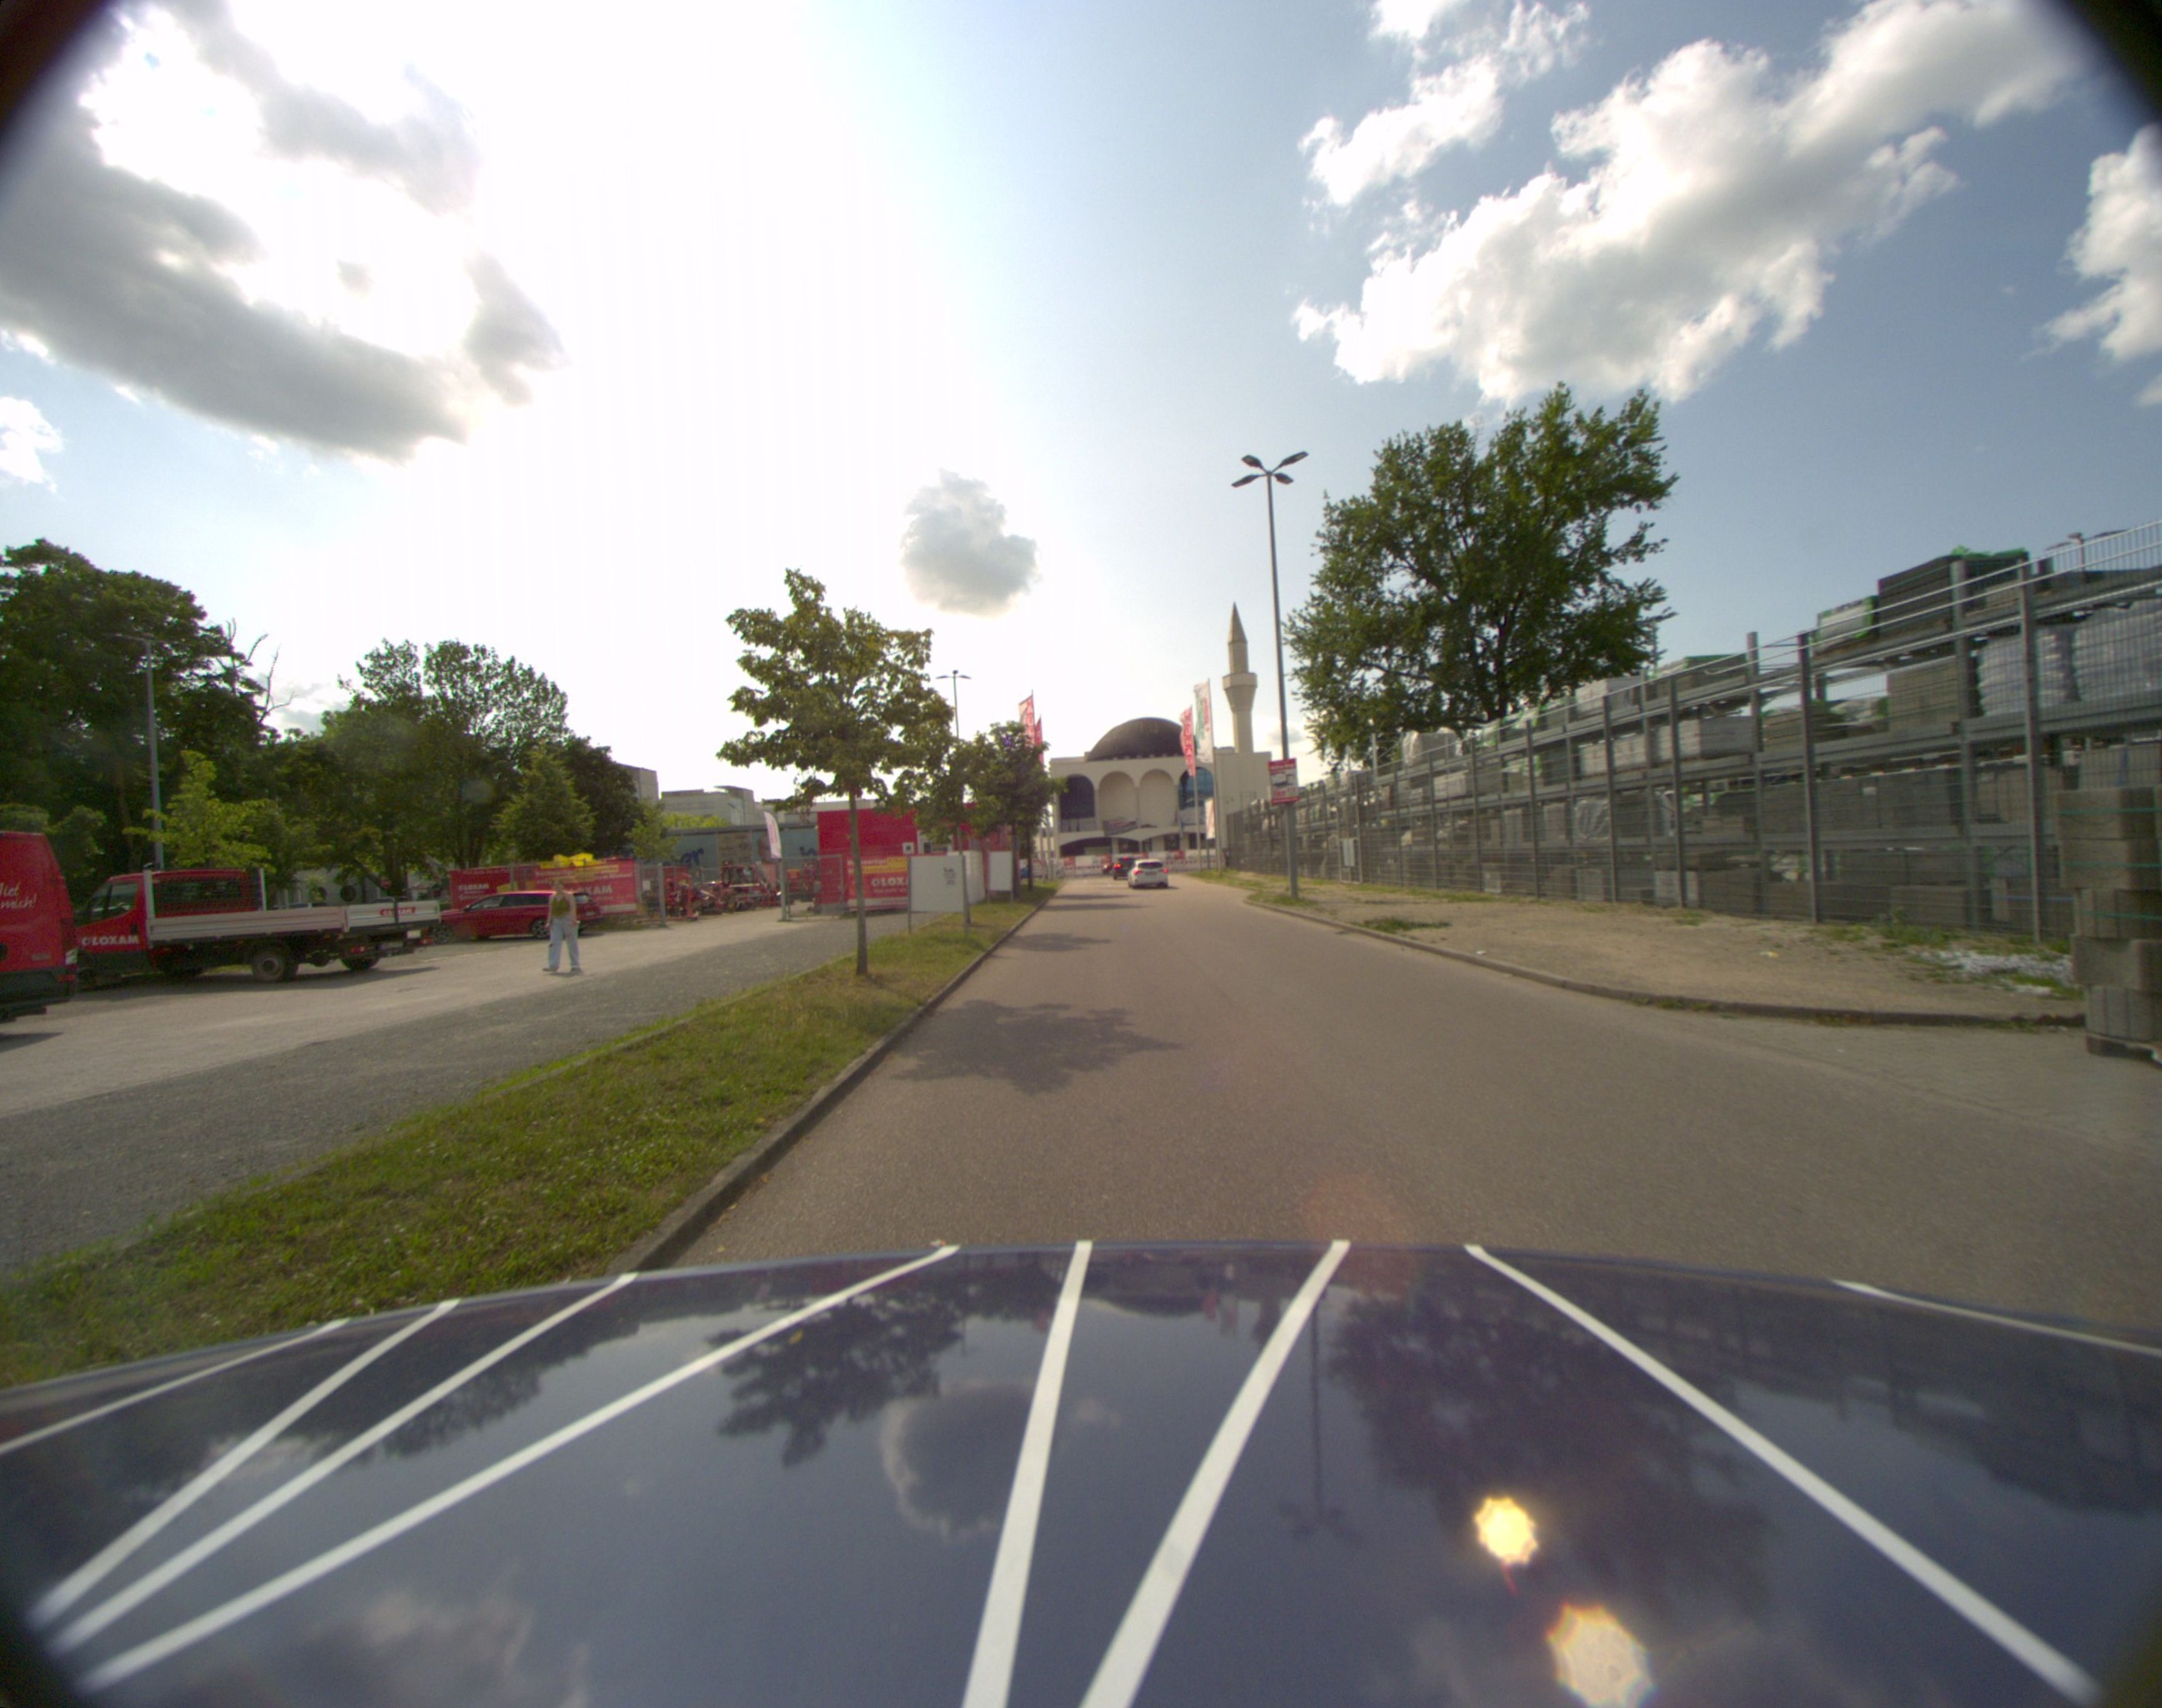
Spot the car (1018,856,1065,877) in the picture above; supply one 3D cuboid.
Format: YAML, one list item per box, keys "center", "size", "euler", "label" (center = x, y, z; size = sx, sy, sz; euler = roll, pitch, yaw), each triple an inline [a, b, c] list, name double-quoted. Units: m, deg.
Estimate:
- center: [-3.404, 1.095, 66.173]
  size: [3.997, 1.636, 1.907]
  euler: [-2, 0, -1]
  label: "car"

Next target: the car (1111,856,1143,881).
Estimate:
- center: [3.301, 1.035, 55.289]
  size: [1.920, 1.608, 4.374]
  euler: [-2, -1, 0]
  label: "car"

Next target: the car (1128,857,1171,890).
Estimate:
- center: [3.426, 0.947, 38.792]
  size: [1.808, 1.456, 4.329]
  euler: [-3, 0, 1]
  label: "car"

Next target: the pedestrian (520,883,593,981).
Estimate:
- center: [-9.540, 1.395, 13.851]
  size: [0.600, 1.682, 0.879]
  euler: [-2, 1, 3]
  label: "pedestrian"

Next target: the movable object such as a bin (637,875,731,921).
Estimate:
- center: [-15.985, 1.751, 30.673]
  size: [3.010, 1.660, 1.389]
  euler: [-3, 0, 1]
  label: "movable object such as a bin"

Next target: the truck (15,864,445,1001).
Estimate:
- center: [-16.640, 1.461, 15.158]
  size: [5.860, 2.242, 2.173]
  euler: [-3, 0, -2]
  label: "truck"

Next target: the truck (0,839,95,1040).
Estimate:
- center: [-16.133, 1.180, 9.160]
  size: [5.442, 2.500, 2.116]
  euler: [-3, 0, -2]
  label: "truck"

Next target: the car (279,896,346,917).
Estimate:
- center: [-71.247, 4.888, 70.459]
  size: [3.998, 1.574, 1.999]
  euler: [-3, 0, -3]
  label: "car"

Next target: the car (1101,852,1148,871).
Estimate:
- center: [3.953, 0.642, 69.430]
  size: [4.190, 1.500, 1.792]
  euler: [-3, 0, 2]
  label: "car"

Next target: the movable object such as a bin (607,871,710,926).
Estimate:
- center: [-15.878, 1.654, 28.657]
  size: [3.010, 1.833, 1.389]
  euler: [-3, 0, 1]
  label: "movable object such as a bin"

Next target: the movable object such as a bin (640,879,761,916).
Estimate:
- center: [-16.402, 1.859, 32.999]
  size: [3.583, 1.370, 3.085]
  euler: [-2, -1, 5]
  label: "movable object such as a bin"

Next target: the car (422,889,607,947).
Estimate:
- center: [-16.803, 1.878, 22.708]
  size: [4.144, 1.406, 1.617]
  euler: [-2, 1, -4]
  label: "car"
